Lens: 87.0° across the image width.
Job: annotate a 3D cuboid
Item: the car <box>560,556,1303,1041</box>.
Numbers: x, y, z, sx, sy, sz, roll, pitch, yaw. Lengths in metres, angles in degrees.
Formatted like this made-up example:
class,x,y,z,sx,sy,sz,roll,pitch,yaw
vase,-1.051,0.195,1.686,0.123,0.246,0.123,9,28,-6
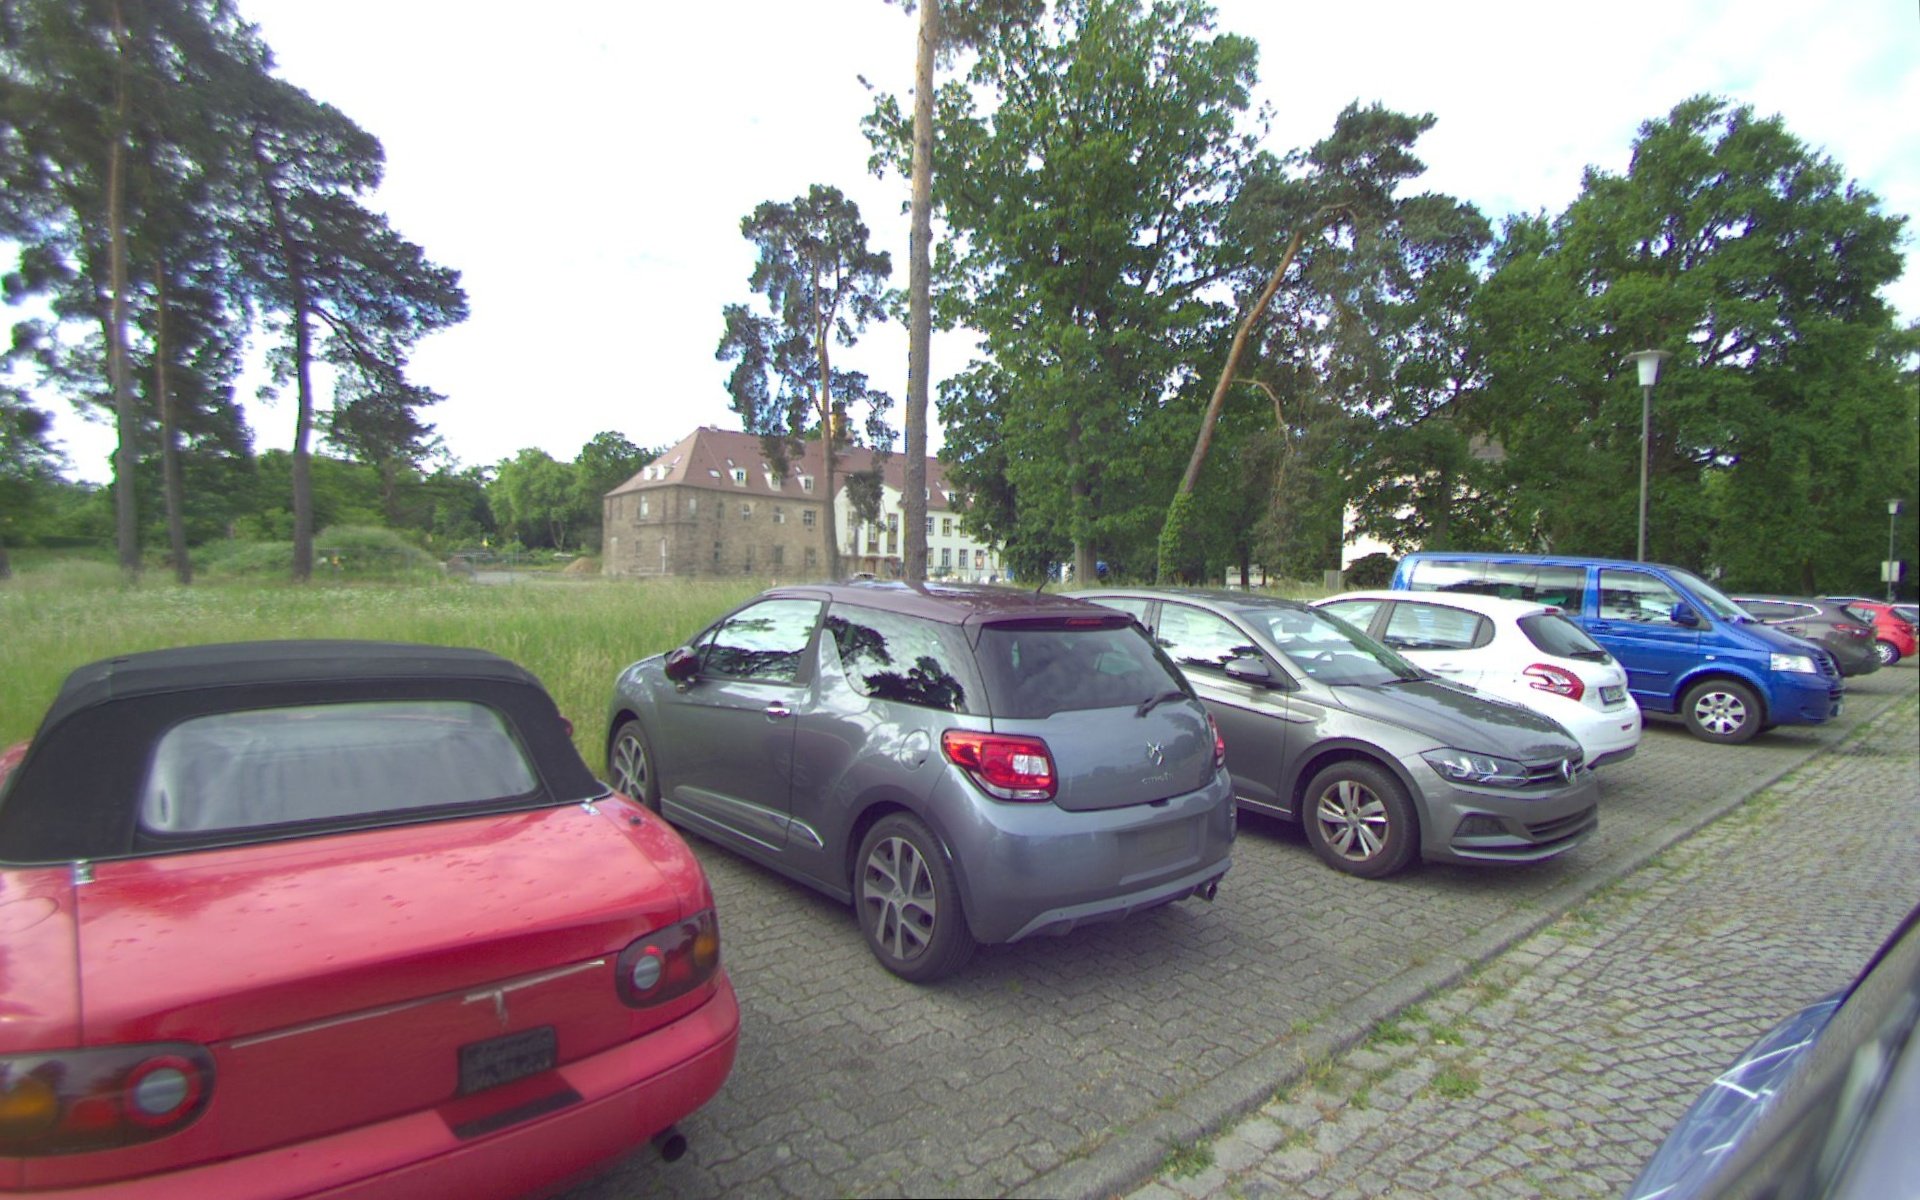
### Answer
class,x,y,z,sx,sy,sz,roll,pitch,yaw
car,-0.435,0.575,5.234,1.769,1.524,3.781,0,2,-43

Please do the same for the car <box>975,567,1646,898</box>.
class,x,y,z,sx,sy,sz,roll,pitch,yaw
car,2.018,0.565,6.737,1.787,1.474,3.849,0,2,-39

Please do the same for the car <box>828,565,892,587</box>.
class,x,y,z,sx,sy,sz,roll,pitch,yaw
car,-7.051,-1.696,71.716,4.184,1.433,1.885,0,2,-42

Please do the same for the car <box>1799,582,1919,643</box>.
class,x,y,z,sx,sy,sz,roll,pitch,yaw
car,29.296,0.378,31.934,1.965,1.784,4.007,0,2,-40

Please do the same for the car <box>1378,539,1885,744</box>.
class,x,y,z,sx,sy,sz,roll,pitch,yaw
car,7.897,0.300,12.334,1.966,1.962,4.746,0,3,-42

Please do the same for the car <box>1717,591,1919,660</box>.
class,x,y,z,sx,sy,sz,roll,pitch,yaw
car,21.665,0.574,25.358,1.965,1.549,3.994,0,1,-41

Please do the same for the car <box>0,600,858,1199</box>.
class,x,y,z,sx,sy,sz,roll,pitch,yaw
car,-1.961,0.692,3.203,1.468,1.222,3.599,1,2,-40

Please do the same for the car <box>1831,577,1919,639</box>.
class,x,y,z,sx,sy,sz,roll,pitch,yaw
car,32.665,0.282,34.646,1.965,2.038,3.996,0,2,-40

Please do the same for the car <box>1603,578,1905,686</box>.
class,x,y,z,sx,sy,sz,roll,pitch,yaw
car,14.282,0.481,18.377,1.965,1.630,3.995,0,2,-41

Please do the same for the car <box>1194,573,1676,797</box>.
class,x,y,z,sx,sy,sz,roll,pitch,yaw
car,3.927,0.551,8.772,1.608,1.470,3.407,0,2,-40

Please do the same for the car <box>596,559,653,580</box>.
class,x,y,z,sx,sy,sz,roll,pitch,yaw
car,-32.563,-2.947,98.210,6.169,1.882,2.305,3,2,40
